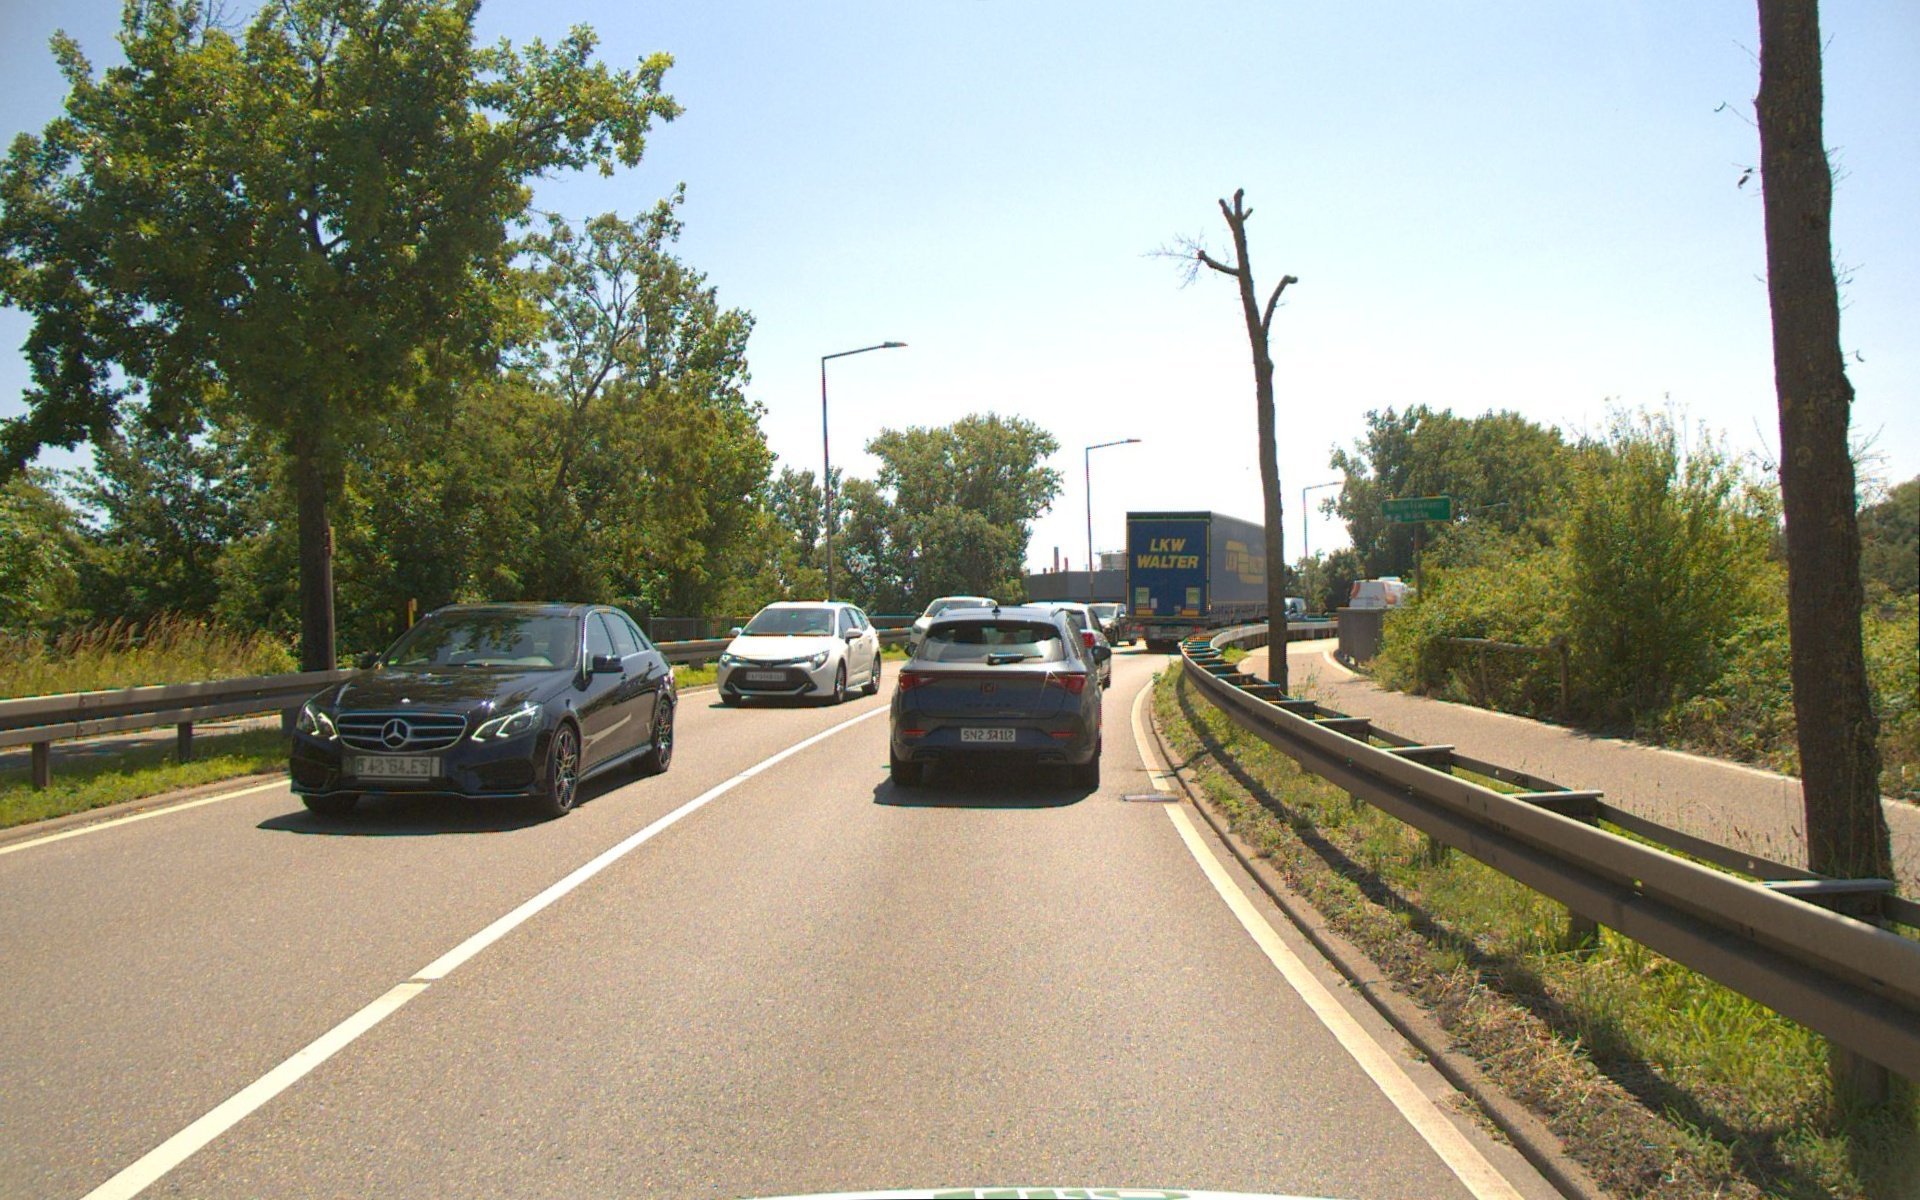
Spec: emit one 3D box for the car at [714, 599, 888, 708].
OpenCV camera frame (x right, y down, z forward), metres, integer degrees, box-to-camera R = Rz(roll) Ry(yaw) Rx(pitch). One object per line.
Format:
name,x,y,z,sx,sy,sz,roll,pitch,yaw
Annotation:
car,-2.273,0.736,24.843,1.665,1.472,4.463,1,0,7

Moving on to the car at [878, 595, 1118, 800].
car,0.445,0.729,14.288,1.806,1.525,3.760,0,0,5

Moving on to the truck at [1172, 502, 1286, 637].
truck,9.978,-1.006,60.717,3.103,4.665,7.400,0,-1,17

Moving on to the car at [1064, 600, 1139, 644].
car,4.837,0.716,56.001,1.680,1.453,4.109,0,0,17

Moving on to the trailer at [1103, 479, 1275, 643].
trailer,7.792,-1.082,54.091,3.069,4.695,12.951,1,0,19

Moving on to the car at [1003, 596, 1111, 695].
car,1.664,0.712,27.313,1.559,1.487,3.547,1,0,7

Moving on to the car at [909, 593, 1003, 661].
car,-0.032,0.632,40.587,1.708,1.573,4.396,0,0,8

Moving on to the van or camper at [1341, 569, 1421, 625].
van or camper,21.521,-0.159,84.418,2.164,2.759,5.908,0,0,33

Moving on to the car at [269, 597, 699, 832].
car,-3.438,0.736,12.997,1.807,1.493,4.742,0,0,2
